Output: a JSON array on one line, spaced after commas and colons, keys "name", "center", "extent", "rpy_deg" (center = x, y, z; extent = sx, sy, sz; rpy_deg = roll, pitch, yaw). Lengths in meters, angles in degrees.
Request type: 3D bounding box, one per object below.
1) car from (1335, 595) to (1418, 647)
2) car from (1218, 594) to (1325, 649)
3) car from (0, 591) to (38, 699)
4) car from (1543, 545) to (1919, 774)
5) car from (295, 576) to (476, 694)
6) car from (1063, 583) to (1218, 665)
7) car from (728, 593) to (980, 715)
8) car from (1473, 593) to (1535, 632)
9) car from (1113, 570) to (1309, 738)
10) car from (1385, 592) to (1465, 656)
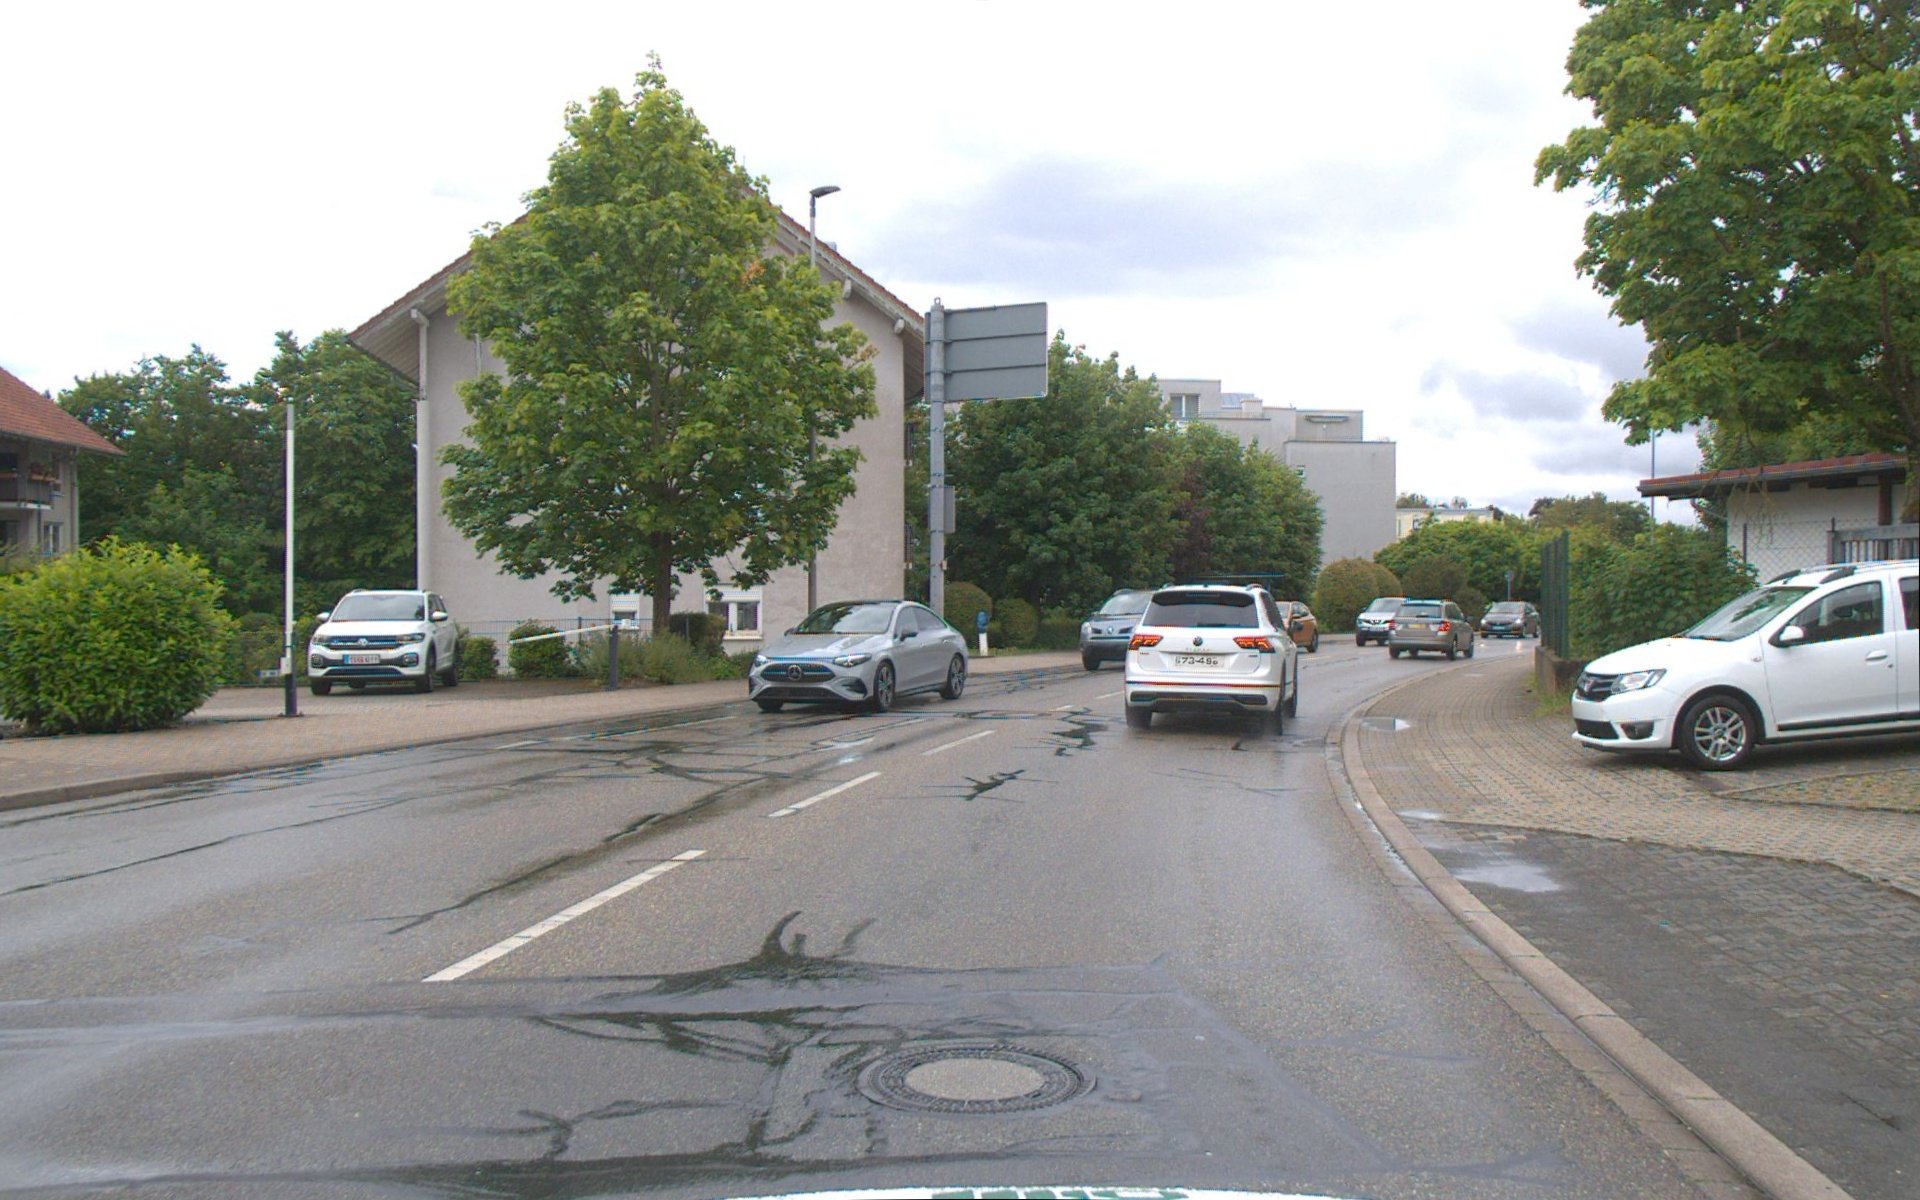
[{"name": "car", "center": [14.117, 0.694, 55.880], "extent": [1.864, 1.686, 4.110], "rpy_deg": [0, 0, 27]}, {"name": "car", "center": [8.774, 0.578, 46.370], "extent": [1.864, 1.465, 4.110], "rpy_deg": [0, 0, 27]}, {"name": "car", "center": [-15.784, 0.651, 24.645], "extent": [1.954, 1.680, 3.997], "rpy_deg": [1, -2, -3]}, {"name": "car", "center": [7.416, 0.411, 14.012], "extent": [4.251, 1.624, 1.766], "rpy_deg": [-4, 0, 2]}, {"name": "car", "center": [-8.906, 0.578, 25.989], "extent": [1.957, 1.680, 3.991], "rpy_deg": [1, -2, -9]}, {"name": "car", "center": [4.020, 0.483, 36.211], "extent": [1.866, 1.686, 4.259], "rpy_deg": [0, 0, 29]}, {"name": "car", "center": [-1.341, 0.660, 22.994], "extent": [1.862, 1.415, 4.490], "rpy_deg": [1, 1, 20]}, {"name": "car", "center": [22.856, 0.512, 69.430], "extent": [1.864, 1.617, 4.110], "rpy_deg": [0, 0, 27]}, {"name": "car", "center": [3.149, 0.570, 20.043], "extent": [1.880, 1.752, 4.268], "rpy_deg": [2, 1, 15]}, {"name": "car", "center": [12.022, 0.655, 42.624], "extent": [1.728, 1.536, 4.000], "rpy_deg": [0, -2, 19]}]
